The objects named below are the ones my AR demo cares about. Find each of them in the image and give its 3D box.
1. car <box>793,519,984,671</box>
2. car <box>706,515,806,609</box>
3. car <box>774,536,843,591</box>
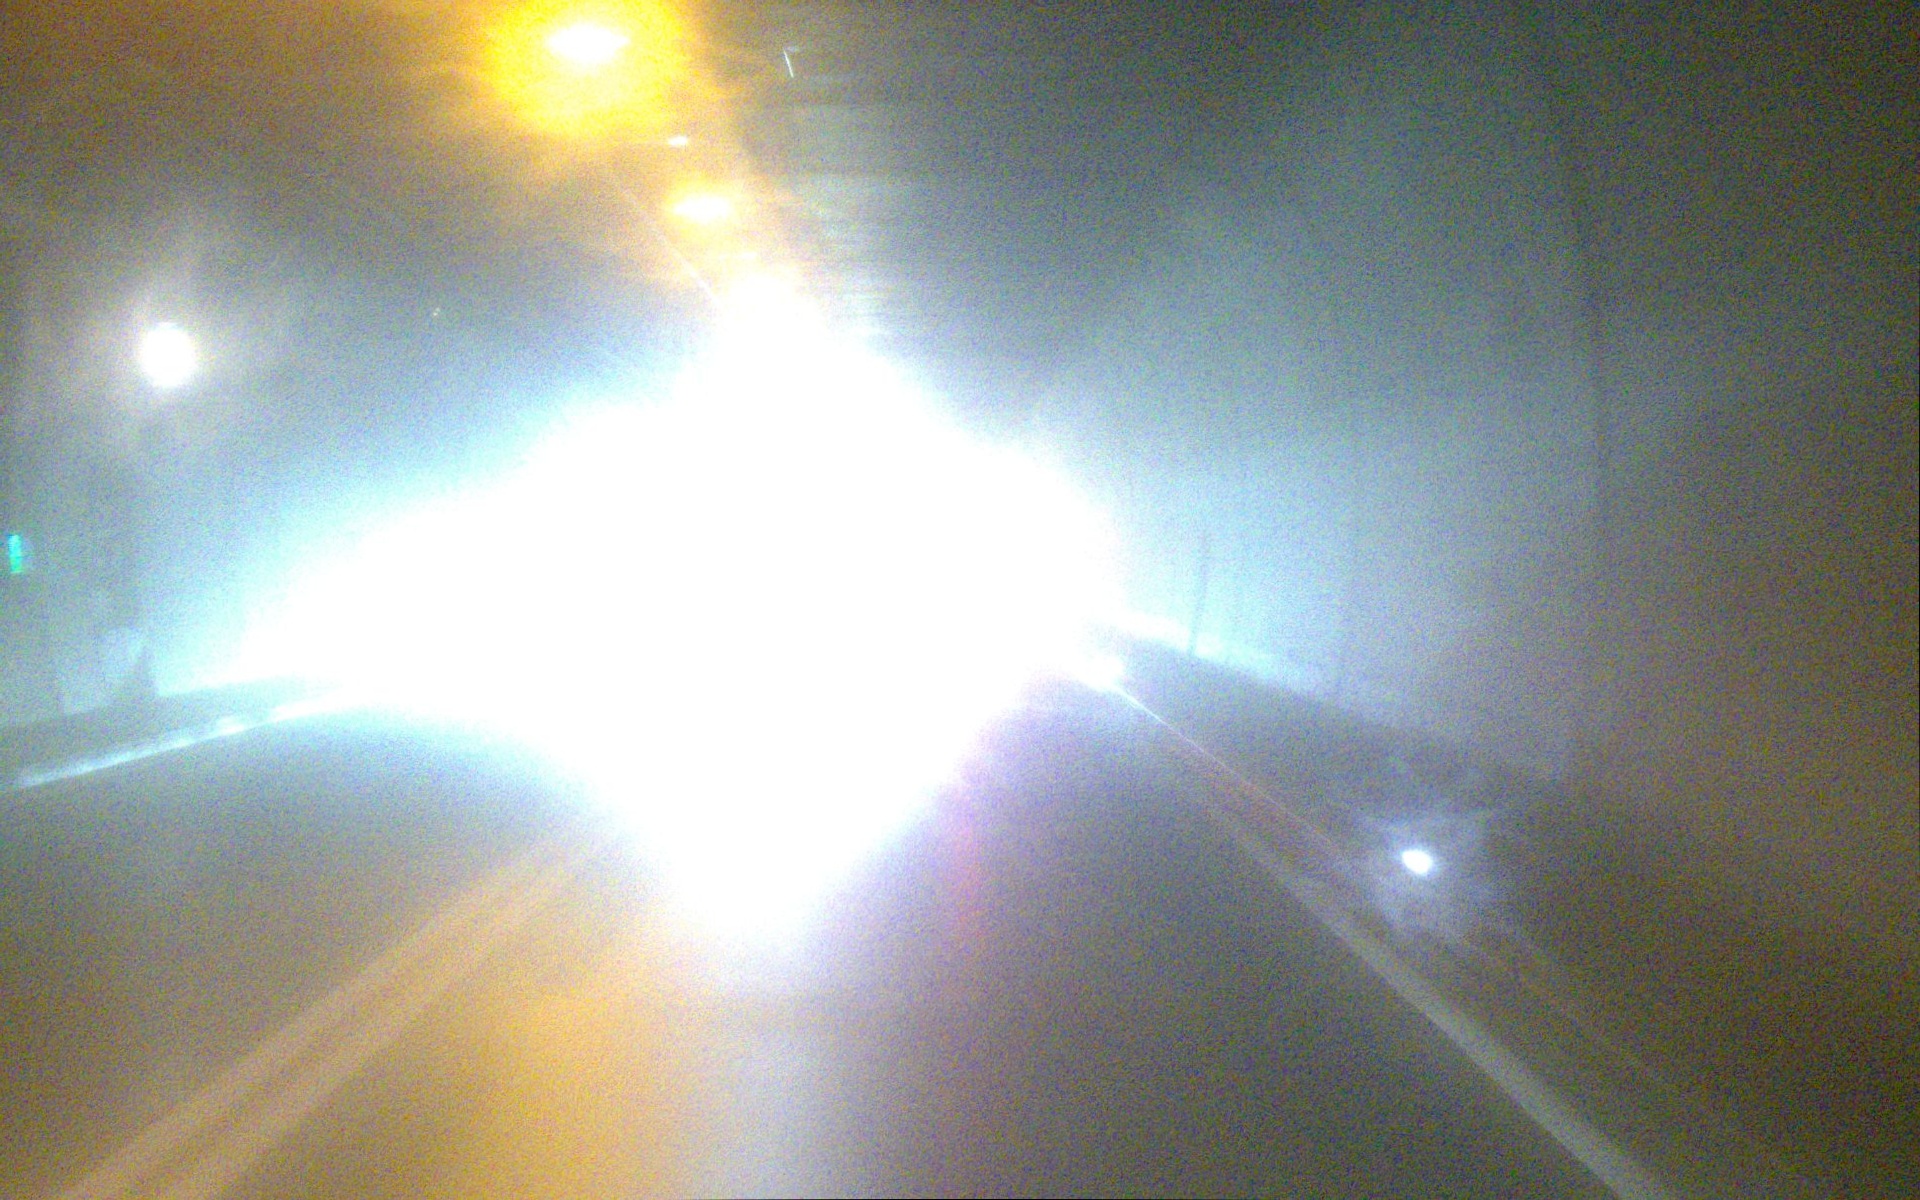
[{"bbox_3d":[-0.809,-0.090,39.754,2.089,1.656,4.000,0,1,-1],"label":"car"},{"bbox_3d":[-4.446,-0.854,75.547,1.993,2.007,4.000,0,1,-1],"label":"car"},{"bbox_3d":[-4.641,-1.133,105.714,1.993,1.645,4.000,0,1,-1],"label":"car"}]
